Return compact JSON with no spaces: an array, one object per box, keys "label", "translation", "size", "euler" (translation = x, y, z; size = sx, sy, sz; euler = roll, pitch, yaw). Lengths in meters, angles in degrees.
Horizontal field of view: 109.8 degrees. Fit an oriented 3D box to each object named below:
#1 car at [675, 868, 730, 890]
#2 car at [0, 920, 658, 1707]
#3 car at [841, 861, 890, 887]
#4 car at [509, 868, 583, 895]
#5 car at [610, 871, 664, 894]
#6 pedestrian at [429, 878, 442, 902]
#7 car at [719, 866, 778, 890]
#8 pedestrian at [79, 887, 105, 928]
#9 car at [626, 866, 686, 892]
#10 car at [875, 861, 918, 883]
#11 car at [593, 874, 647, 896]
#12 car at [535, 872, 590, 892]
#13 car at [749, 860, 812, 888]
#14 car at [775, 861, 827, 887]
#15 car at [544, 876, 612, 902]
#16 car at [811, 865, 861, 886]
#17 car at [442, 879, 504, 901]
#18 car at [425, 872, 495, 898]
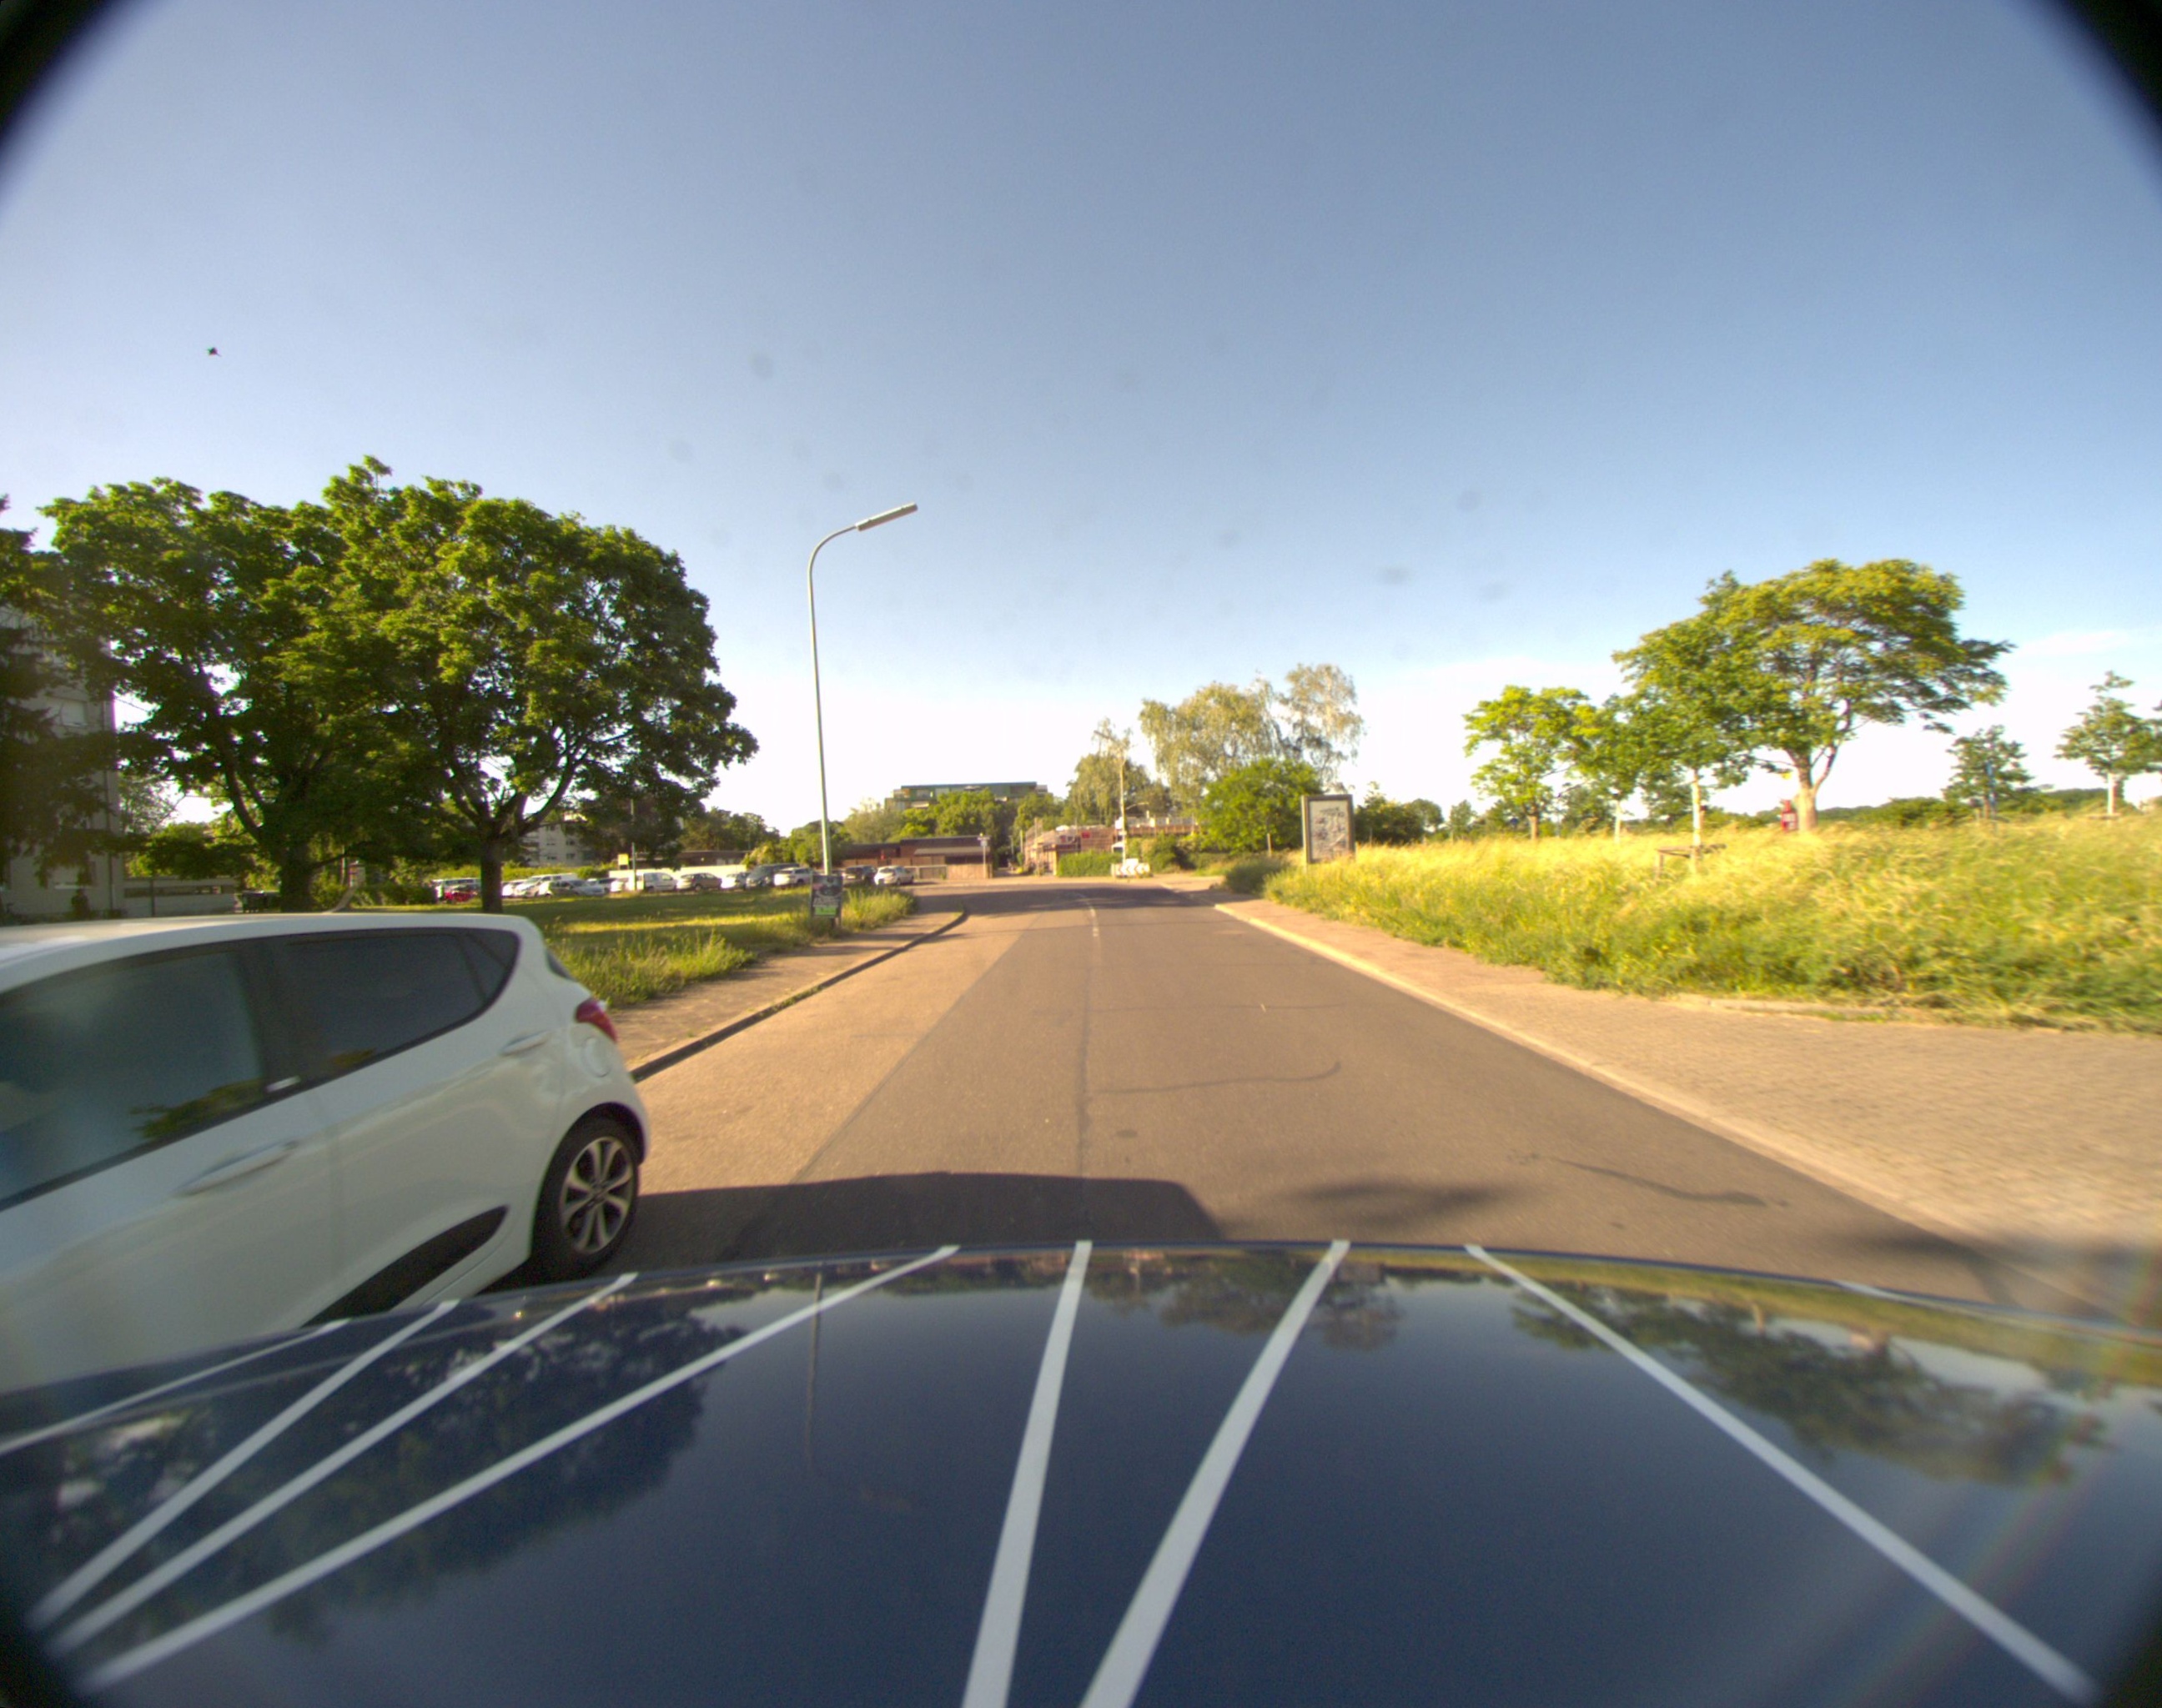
[{"label":"car","translation":[-30.406,1.972,61.154],"size":[1.786,1.524,3.830],"euler":[-2,1,15]},{"label":"car","translation":[-2.811,1.108,1.533],"size":[1.726,1.471,3.740],"euler":[-4,1,0]},{"label":"car","translation":[-16.075,1.431,56.764],"size":[1.816,1.603,4.001],"euler":[-2,2,11]},{"label":"car","translation":[-46.834,2.337,66.637],"size":[2.077,1.910,4.809],"euler":[-2,2,19]},{"label":"car","translation":[-36.998,2.388,63.399],"size":[1.724,1.481,3.527],"euler":[1,5,19]},{"label":"pedestrian","translation":[-42.791,2.357,50.350],"size":[0.595,1.555,0.484],"euler":[-1,0,31]},{"label":"car","translation":[-26.076,1.870,59.742],"size":[1.921,1.484,4.155],"euler":[-2,2,19]},{"label":"pedestrian","translation":[-41.598,2.236,31.950],"size":[0.534,1.653,0.492],"euler":[-1,3,31]},{"label":"car","translation":[-34.868,2.049,62.450],"size":[1.921,1.771,3.993],"euler":[-3,2,18]},{"label":"car","translation":[-13.584,1.307,56.231],"size":[1.632,1.450,3.701],"euler":[-2,1,11]},{"label":"car","translation":[-38.845,2.587,64.107],"size":[1.633,1.481,3.529],"euler":[-1,3,23]},{"label":"car","translation":[-44.584,2.388,65.416],"size":[1.633,1.438,3.528],"euler":[-2,3,17]},{"label":"car","translation":[-23.070,1.512,58.559],"size":[1.996,1.904,4.892],"euler":[-2,1,14]},{"label":"car","translation":[-21.092,1.486,57.438],"size":[1.729,1.598,3.627],"euler":[-2,3,18]},{"label":"car","translation":[-33.338,2.335,50.410],"size":[3.781,1.534,1.739],"euler":[-2,2,19]},{"label":"car","translation":[-18.569,1.618,57.648],"size":[1.729,1.337,3.627],"euler":[-2,3,18]},{"label":"car","translation":[-43.118,2.560,53.866],"size":[3.781,1.438,1.582],"euler":[-2,2,19]},{"label":"car","translation":[-57.609,2.857,70.610],"size":[1.995,1.966,4.499],"euler":[-1,3,24]}]
